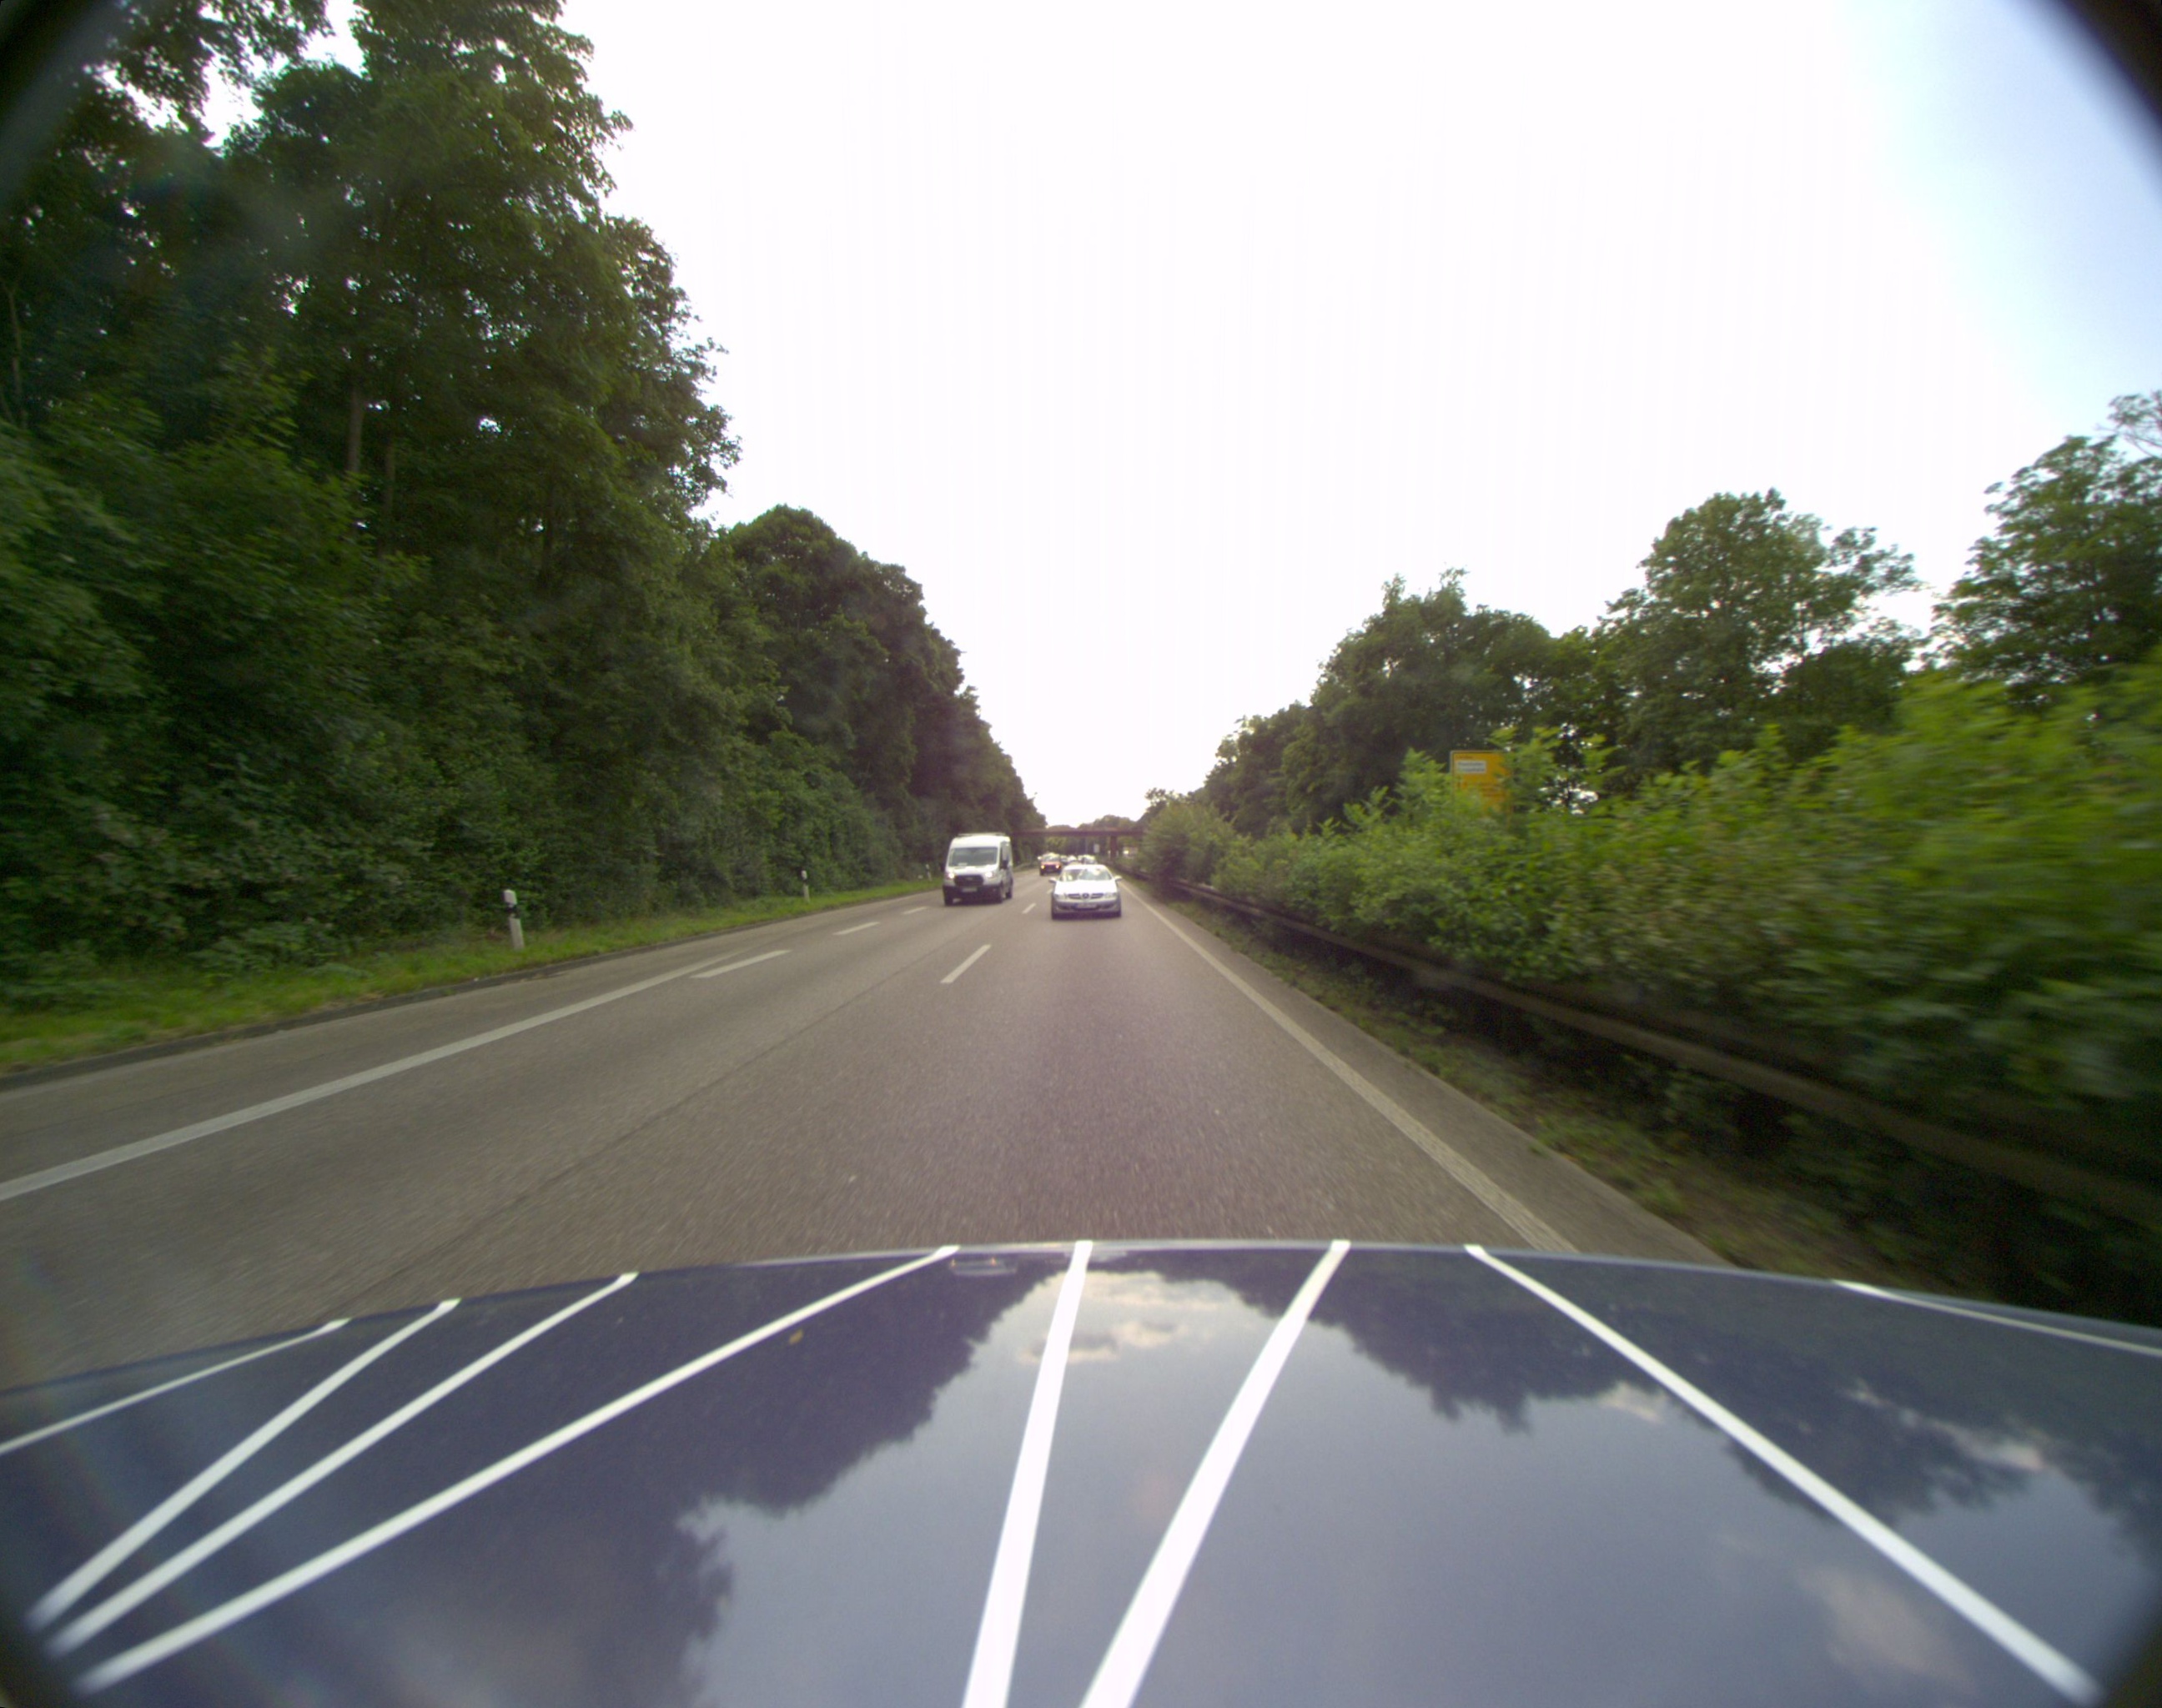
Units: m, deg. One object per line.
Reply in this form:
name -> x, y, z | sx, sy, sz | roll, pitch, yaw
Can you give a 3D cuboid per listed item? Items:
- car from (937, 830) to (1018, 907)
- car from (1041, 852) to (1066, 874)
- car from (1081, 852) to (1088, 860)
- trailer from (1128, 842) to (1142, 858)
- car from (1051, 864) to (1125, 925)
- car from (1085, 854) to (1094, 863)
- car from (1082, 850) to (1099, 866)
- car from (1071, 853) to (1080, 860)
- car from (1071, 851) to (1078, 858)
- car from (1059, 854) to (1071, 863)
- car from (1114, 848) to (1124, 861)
car -> -3.681, 0.468, 28.093 | 2.104, 2.493, 5.279 | -2, 0, 1
car -> -2.443, 0.763, 68.327 | 1.908, 1.795, 4.395 | -2, 0, 1
car -> 0.900, 0.573, 202.148 | 1.725, 2.002, 4.000 | -1, 0, 0
trailer -> 13.459, -0.986, 188.692 | 3.067, 4.019, 9.974 | -1, 0, 2
car -> 0.171, 1.014, 20.950 | 1.751, 1.295, 5.223 | -2, 0, 0
car -> 1.529, 0.773, 130.167 | 1.472, 1.560, 3.295 | 0, 0, 1
car -> 1.226, 0.515, 96.223 | 1.998, 2.002, 4.000 | -1, 0, 1
car -> -1.161, 0.536, 167.535 | 1.887, 1.577, 4.000 | -1, 0, 1
car -> -2.096, 0.166, 236.445 | 1.998, 2.002, 4.000 | -1, 0, 1
car -> -2.848, 0.763, 133.073 | 1.889, 1.516, 4.000 | -1, 0, 1
car -> 9.405, 0.081, 190.791 | 2.294, 3.214, 7.286 | 0, 0, 1
